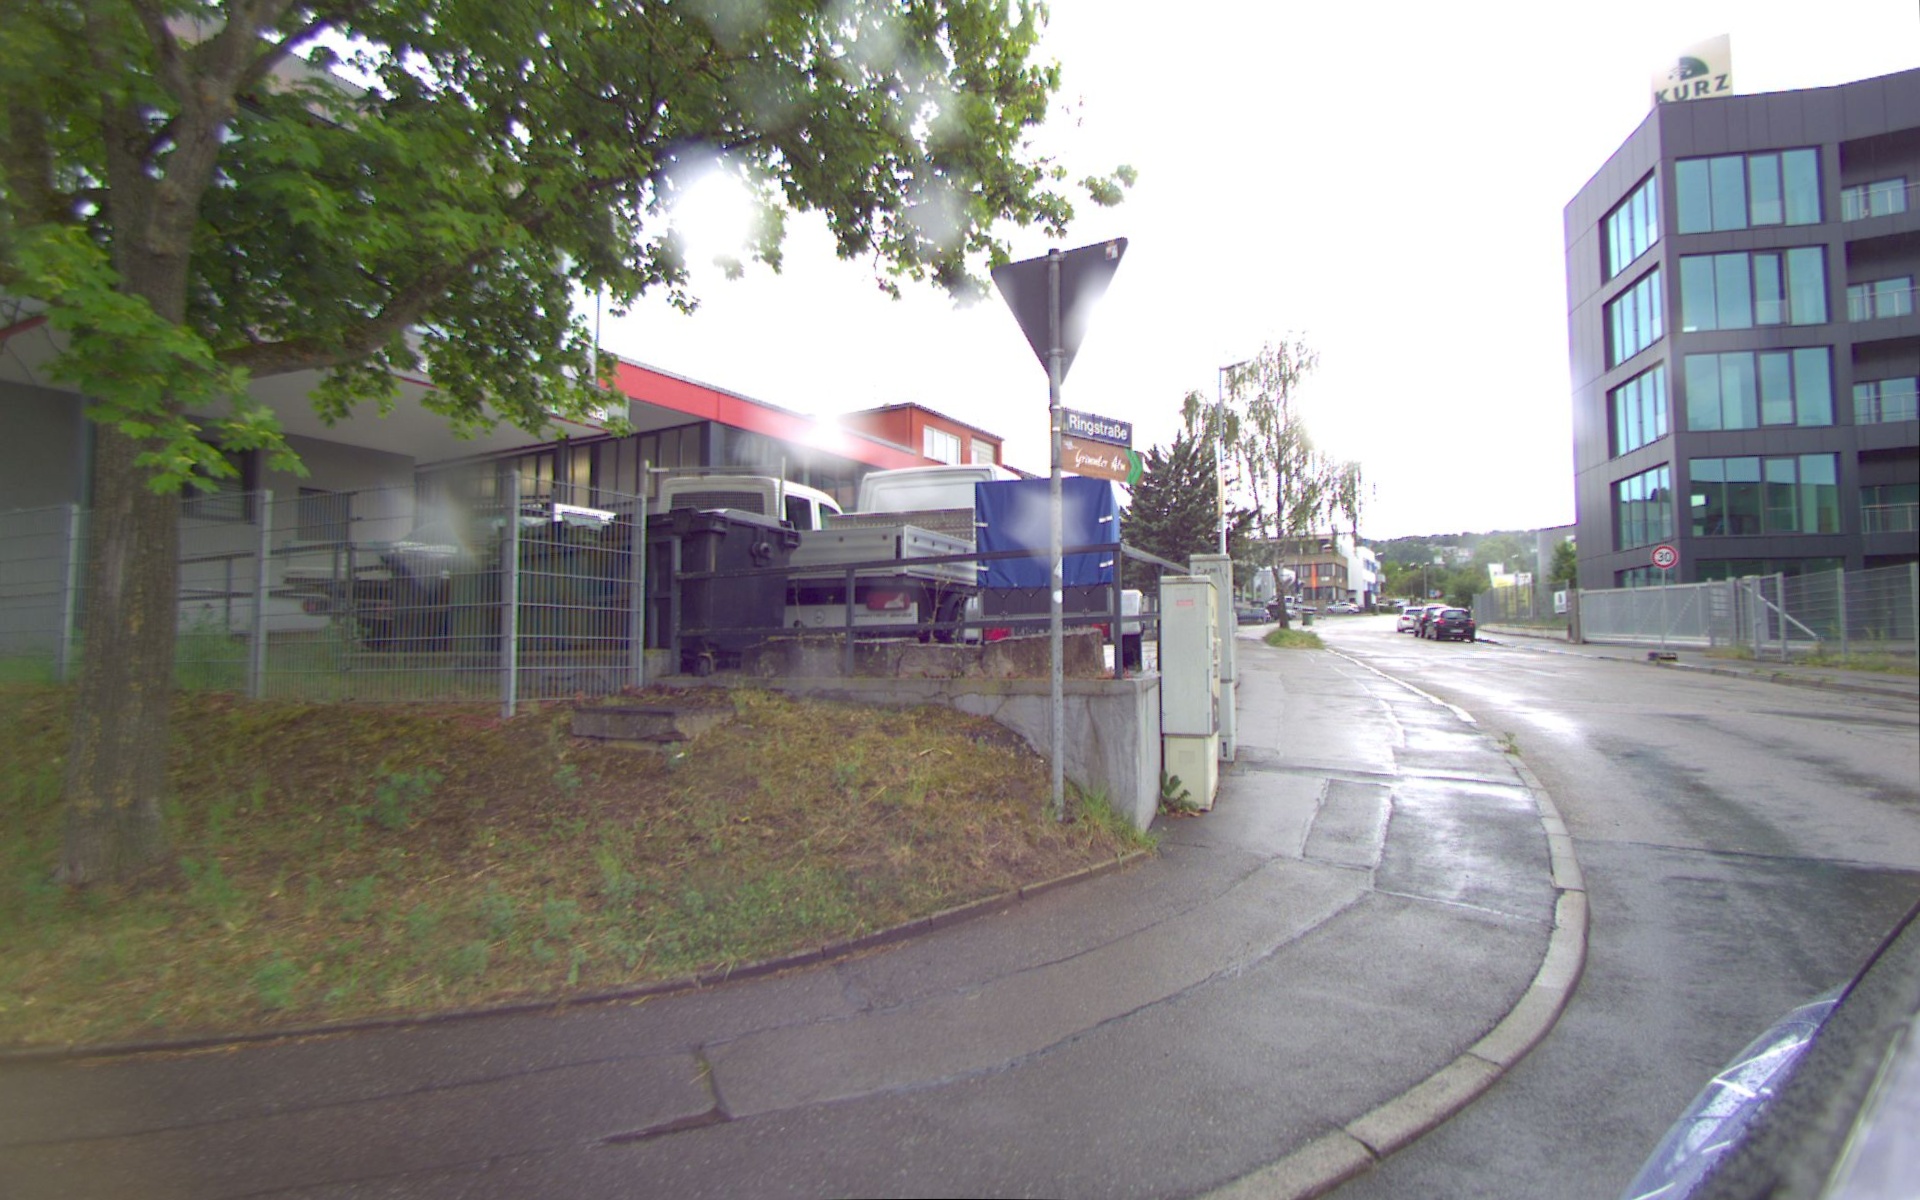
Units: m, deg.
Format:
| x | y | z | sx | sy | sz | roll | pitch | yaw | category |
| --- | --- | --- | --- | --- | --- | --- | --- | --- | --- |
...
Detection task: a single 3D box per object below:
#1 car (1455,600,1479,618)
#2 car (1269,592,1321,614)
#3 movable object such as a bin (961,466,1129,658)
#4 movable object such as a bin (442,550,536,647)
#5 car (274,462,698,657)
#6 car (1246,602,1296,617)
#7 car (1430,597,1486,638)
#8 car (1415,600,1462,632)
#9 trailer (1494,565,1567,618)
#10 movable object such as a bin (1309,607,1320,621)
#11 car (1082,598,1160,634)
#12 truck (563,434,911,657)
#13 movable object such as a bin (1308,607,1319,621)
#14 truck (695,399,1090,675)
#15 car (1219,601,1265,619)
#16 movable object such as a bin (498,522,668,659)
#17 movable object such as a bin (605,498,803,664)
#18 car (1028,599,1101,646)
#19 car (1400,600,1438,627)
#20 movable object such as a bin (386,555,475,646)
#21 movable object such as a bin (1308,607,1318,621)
| x | y | z | sx | sy | sz | roll | pitch | yaw | category |
| --- | --- | --- | --- | --- | --- | --- | --- | --- | --- |
| 61.101 | 1.086 | 121.883 | 1.988 | 2.039 | 3.948 | -1 | -1 | 36 | car |
| 37.131 | 0.310 | 112.152 | 5.118 | 2.323 | 2.176 | -1 | -1 | 33 | car |
| 0.822 | -0.294 | 9.079 | 1.290 | 1.519 | 1.852 | -1 | -1 | 12 | movable object such as a bin |
| -4.182 | -0.008 | 8.992 | 0.560 | 0.828 | 0.534 | -1 | -1 | 27 | movable object such as a bin |
| -5.844 | -0.412 | 13.270 | 2.041 | 2.039 | 4.895 | -1 | 0 | 25 | car |
| 31.960 | 0.990 | 103.928 | 4.588 | 1.516 | 1.920 | -1 | -1 | 31 | car |
| 22.926 | 0.772 | 46.738 | 1.722 | 1.820 | 3.936 | -1 | 0 | 18 | car |
| 24.438 | 0.802 | 51.749 | 1.616 | 1.578 | 4.060 | 0 | 0 | 18 | car |
| 46.309 | -0.673 | 82.217 | 2.339 | 4.141 | 4.708 | 0 | -1 | -21 | trailer |
| 28.475 | 1.100 | 81.279 | 0.729 | 1.104 | 0.589 | -1 | -1 | 25 | movable object such as a bin |
| 7.752 | 0.735 | 48.421 | 1.987 | 1.599 | 4.458 | -3 | -2 | 33 | car |
| -2.654 | -0.567 | 13.426 | 2.223 | 2.371 | 4.801 | -1 | 0 | 22 | truck |
| 28.218 | 1.106 | 80.727 | 0.729 | 1.104 | 0.589 | -1 | -1 | 25 | movable object such as a bin |
| -0.332 | -0.502 | 11.221 | 2.088 | 2.242 | 5.608 | -1 | 0 | 23 | truck |
| 24.946 | 0.902 | 89.482 | 3.717 | 1.560 | 1.614 | 0 | -1 | 29 | car |
| -3.139 | -0.069 | 8.451 | 1.043 | 1.056 | 0.875 | -1 | -1 | 29 | movable object such as a bin |
| -1.986 | -0.130 | 7.920 | 1.131 | 1.177 | 1.017 | -1 | -1 | 27 | movable object such as a bin |
| 4.406 | 0.894 | 42.318 | 1.977 | 1.861 | 3.969 | -1 | 0 | 23 | car |
| 28.157 | 0.814 | 62.153 | 1.719 | 1.555 | 4.222 | -1 | -1 | 20 | car |
| -4.902 | 0.004 | 9.373 | 0.518 | 0.812 | 0.534 | -1 | -1 | 27 | movable object such as a bin |
| 27.961 | 1.110 | 80.173 | 0.729 | 1.104 | 0.589 | -1 | -1 | 25 | movable object such as a bin |
